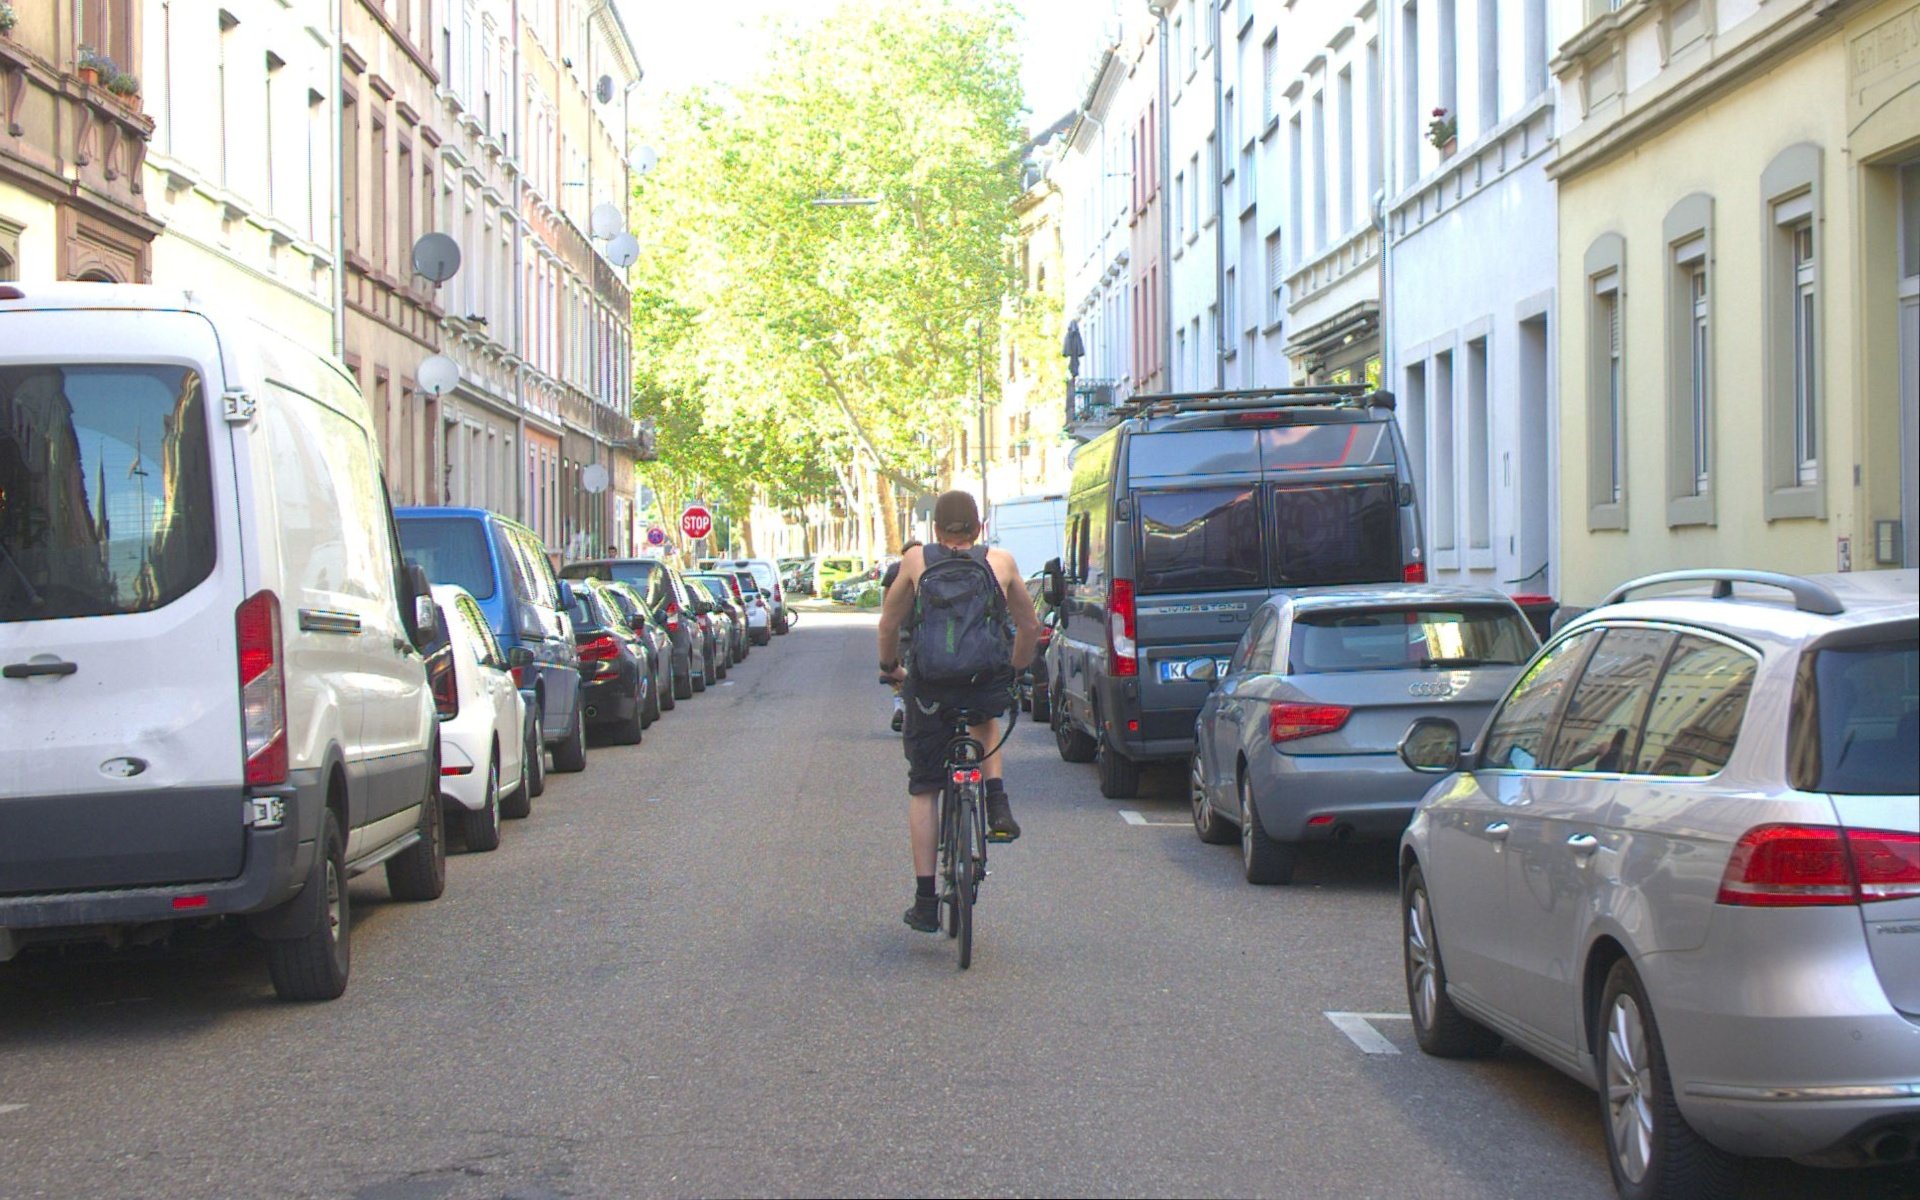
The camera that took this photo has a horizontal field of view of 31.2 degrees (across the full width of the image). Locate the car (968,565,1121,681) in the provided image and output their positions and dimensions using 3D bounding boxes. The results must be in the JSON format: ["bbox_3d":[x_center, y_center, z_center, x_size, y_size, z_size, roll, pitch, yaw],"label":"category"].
[{"bbox_3d":[1.075,0.270,45.370,1.725,1.424,3.833,-1,1,-3],"label":"car"}]

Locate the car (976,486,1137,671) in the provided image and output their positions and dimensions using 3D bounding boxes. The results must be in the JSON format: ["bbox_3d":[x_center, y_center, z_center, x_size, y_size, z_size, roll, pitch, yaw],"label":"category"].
[{"bbox_3d":[1.374,-0.336,50.814,2.204,2.542,6.036,-1,1,1],"label":"car"}]

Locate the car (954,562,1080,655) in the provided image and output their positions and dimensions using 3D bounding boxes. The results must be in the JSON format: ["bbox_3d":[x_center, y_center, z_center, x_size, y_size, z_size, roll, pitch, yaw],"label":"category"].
[{"bbox_3d":[0.908,0.107,57.342,1.731,1.465,4.022,-1,1,-4],"label":"car"}]

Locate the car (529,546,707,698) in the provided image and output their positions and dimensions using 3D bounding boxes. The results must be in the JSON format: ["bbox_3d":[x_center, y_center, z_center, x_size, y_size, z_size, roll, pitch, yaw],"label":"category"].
[{"bbox_3d":[-4.159,0.233,42.327,1.801,1.692,4.000,-3,1,-1],"label":"car"}]

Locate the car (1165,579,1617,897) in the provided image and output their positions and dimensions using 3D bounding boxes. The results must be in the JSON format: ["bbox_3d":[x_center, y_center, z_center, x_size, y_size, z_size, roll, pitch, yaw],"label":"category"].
[{"bbox_3d":[2.122,0.626,17.995,1.747,1.439,4.172,0,1,-1],"label":"car"}]

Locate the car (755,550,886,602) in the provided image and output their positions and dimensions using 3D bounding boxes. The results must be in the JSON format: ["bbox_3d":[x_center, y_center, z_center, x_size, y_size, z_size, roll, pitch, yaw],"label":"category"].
[{"bbox_3d":[-4.916,-0.842,121.057,4.468,1.753,1.867,-1,1,-5],"label":"car"}]

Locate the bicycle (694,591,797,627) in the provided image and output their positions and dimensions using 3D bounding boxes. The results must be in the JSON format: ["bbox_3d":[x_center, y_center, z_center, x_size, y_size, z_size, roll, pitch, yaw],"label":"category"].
[{"bbox_3d":[-5.695,0.229,91.245,2.715,0.889,0.619,-1,1,-4],"label":"bicycle"}]

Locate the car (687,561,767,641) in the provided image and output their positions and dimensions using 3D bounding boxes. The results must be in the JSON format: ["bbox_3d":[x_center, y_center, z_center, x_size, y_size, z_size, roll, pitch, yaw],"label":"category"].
[{"bbox_3d":[-4.744,-0.001,69.672,1.544,1.545,3.466,-1,1,-4],"label":"car"}]

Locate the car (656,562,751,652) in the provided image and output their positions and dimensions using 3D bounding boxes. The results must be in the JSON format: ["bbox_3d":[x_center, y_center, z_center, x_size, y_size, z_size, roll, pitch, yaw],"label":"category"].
[{"bbox_3d":[-4.625,0.103,62.298,1.604,1.525,3.379,-2,1,-3],"label":"car"}]

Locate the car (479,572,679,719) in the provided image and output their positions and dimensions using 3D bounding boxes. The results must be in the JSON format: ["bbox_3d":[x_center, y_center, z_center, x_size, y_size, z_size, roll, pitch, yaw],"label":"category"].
[{"bbox_3d":[-3.977,0.433,36.371,1.736,1.422,4.000,-1,1,-1],"label":"car"}]

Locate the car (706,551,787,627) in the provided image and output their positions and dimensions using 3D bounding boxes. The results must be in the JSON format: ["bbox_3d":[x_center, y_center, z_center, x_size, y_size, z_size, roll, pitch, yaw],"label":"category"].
[{"bbox_3d":[-5.053,-0.277,81.870,1.787,1.731,3.876,-1,1,-2],"label":"car"}]

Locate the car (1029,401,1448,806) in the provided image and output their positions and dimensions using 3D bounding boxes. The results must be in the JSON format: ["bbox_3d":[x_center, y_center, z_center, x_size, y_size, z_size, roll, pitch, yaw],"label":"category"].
[{"bbox_3d":[1.784,-0.019,24.330,2.175,2.417,6.310,-2,1,-2],"label":"car"}]

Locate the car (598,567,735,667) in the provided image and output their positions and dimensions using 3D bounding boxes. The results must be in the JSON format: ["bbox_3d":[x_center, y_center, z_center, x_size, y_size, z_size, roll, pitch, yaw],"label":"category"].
[{"bbox_3d":[-4.423,0.230,52.280,1.674,1.425,3.888,-1,1,1],"label":"car"}]

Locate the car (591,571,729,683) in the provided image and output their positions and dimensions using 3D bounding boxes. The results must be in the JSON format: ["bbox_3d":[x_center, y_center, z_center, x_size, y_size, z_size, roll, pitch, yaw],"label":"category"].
[{"bbox_3d":[-4.094,0.337,47.309,1.592,1.435,3.654,-1,1,-1],"label":"car"}]

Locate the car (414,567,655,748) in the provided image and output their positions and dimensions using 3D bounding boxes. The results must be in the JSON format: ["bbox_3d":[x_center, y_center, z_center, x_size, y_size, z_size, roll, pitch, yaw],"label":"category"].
[{"bbox_3d":[-3.792,0.464,31.311,1.861,1.435,4.646,-1,1,-3],"label":"car"}]

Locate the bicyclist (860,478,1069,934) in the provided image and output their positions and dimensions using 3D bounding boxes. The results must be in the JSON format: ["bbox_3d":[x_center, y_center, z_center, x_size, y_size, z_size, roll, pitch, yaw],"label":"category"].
[{"bbox_3d":[0.001,0.386,13.248,0.740,1.673,1.117,1,0,-2],"label":"bicyclist"}]

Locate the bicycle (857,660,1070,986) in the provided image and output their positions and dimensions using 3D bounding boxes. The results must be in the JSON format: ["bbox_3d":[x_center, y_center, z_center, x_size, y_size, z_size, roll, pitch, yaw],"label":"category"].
[{"bbox_3d":[-0.017,0.819,13.352,0.740,1.097,2.042,1,1,-2],"label":"bicycle"}]

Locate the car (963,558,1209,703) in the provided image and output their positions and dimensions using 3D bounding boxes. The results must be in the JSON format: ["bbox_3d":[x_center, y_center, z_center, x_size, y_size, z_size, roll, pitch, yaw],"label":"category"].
[{"bbox_3d":[1.405,0.309,40.323,1.811,1.473,4.609,-4,2,-11],"label":"car"}]

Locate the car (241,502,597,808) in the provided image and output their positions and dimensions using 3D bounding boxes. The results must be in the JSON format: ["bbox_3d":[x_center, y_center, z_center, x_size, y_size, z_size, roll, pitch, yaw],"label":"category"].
[{"bbox_3d":[-3.751,0.328,24.615,1.827,1.885,4.614,-3,1,-1],"label":"car"}]

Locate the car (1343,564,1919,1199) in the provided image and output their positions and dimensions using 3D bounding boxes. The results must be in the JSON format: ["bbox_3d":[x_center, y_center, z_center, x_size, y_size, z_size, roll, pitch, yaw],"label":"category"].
[{"bbox_3d":[2.290,0.684,9.177,1.786,1.449,4.547,-3,1,-2],"label":"car"}]

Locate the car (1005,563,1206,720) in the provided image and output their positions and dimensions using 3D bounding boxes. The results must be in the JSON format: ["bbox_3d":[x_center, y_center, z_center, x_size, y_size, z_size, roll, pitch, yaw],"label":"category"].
[{"bbox_3d":[1.444,0.381,35.539,1.746,1.480,4.243,-1,1,-2],"label":"car"}]

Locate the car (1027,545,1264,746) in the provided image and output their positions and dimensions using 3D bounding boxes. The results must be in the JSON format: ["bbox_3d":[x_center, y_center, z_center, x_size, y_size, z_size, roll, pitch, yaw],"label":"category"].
[{"bbox_3d":[1.591,0.355,30.789,1.693,1.602,4.375,-2,1,-2],"label":"car"}]

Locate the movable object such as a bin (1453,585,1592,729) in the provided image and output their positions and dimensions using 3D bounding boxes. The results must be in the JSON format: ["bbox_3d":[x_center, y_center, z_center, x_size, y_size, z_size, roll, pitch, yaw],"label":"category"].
[{"bbox_3d":[4.347,0.433,26.620,0.863,1.039,0.708,-4,1,-3],"label":"movable object such as a bin"}]

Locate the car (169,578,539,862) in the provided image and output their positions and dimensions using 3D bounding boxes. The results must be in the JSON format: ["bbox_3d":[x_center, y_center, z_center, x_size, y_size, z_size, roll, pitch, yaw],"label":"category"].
[{"bbox_3d":[-3.424,0.621,20.027,1.645,1.442,3.840,-1,1,-3],"label":"car"}]

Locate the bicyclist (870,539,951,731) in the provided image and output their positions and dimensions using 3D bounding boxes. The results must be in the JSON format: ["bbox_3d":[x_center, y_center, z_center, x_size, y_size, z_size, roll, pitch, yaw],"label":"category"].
[{"bbox_3d":[-0.441,0.296,30.176,0.669,1.653,0.877,-1,1,-1],"label":"bicyclist"}]

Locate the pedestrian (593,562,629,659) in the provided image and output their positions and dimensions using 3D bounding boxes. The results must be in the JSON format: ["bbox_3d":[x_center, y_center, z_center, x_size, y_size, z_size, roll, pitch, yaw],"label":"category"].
[{"bbox_3d":[-6.774,0.203,66.711,0.610,1.852,0.754,2,0,-2],"label":"pedestrian"}]

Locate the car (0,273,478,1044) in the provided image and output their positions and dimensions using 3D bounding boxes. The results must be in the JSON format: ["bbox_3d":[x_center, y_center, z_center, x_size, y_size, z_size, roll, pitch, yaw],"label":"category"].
[{"bbox_3d":[-3.361,0.173,13.967,2.168,2.443,5.922,-2,1,-3],"label":"car"}]

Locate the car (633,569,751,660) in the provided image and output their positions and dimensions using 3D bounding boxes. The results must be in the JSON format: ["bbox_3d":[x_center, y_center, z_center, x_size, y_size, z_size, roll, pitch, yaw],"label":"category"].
[{"bbox_3d":[-4.438,0.214,57.341,1.706,1.409,4.302,-1,1,-1],"label":"car"}]

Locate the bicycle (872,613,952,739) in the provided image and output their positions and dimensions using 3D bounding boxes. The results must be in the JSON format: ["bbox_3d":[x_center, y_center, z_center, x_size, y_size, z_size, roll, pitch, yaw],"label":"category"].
[{"bbox_3d":[-0.429,0.649,30.286,0.664,1.034,1.959,-1,1,-1],"label":"bicycle"}]
